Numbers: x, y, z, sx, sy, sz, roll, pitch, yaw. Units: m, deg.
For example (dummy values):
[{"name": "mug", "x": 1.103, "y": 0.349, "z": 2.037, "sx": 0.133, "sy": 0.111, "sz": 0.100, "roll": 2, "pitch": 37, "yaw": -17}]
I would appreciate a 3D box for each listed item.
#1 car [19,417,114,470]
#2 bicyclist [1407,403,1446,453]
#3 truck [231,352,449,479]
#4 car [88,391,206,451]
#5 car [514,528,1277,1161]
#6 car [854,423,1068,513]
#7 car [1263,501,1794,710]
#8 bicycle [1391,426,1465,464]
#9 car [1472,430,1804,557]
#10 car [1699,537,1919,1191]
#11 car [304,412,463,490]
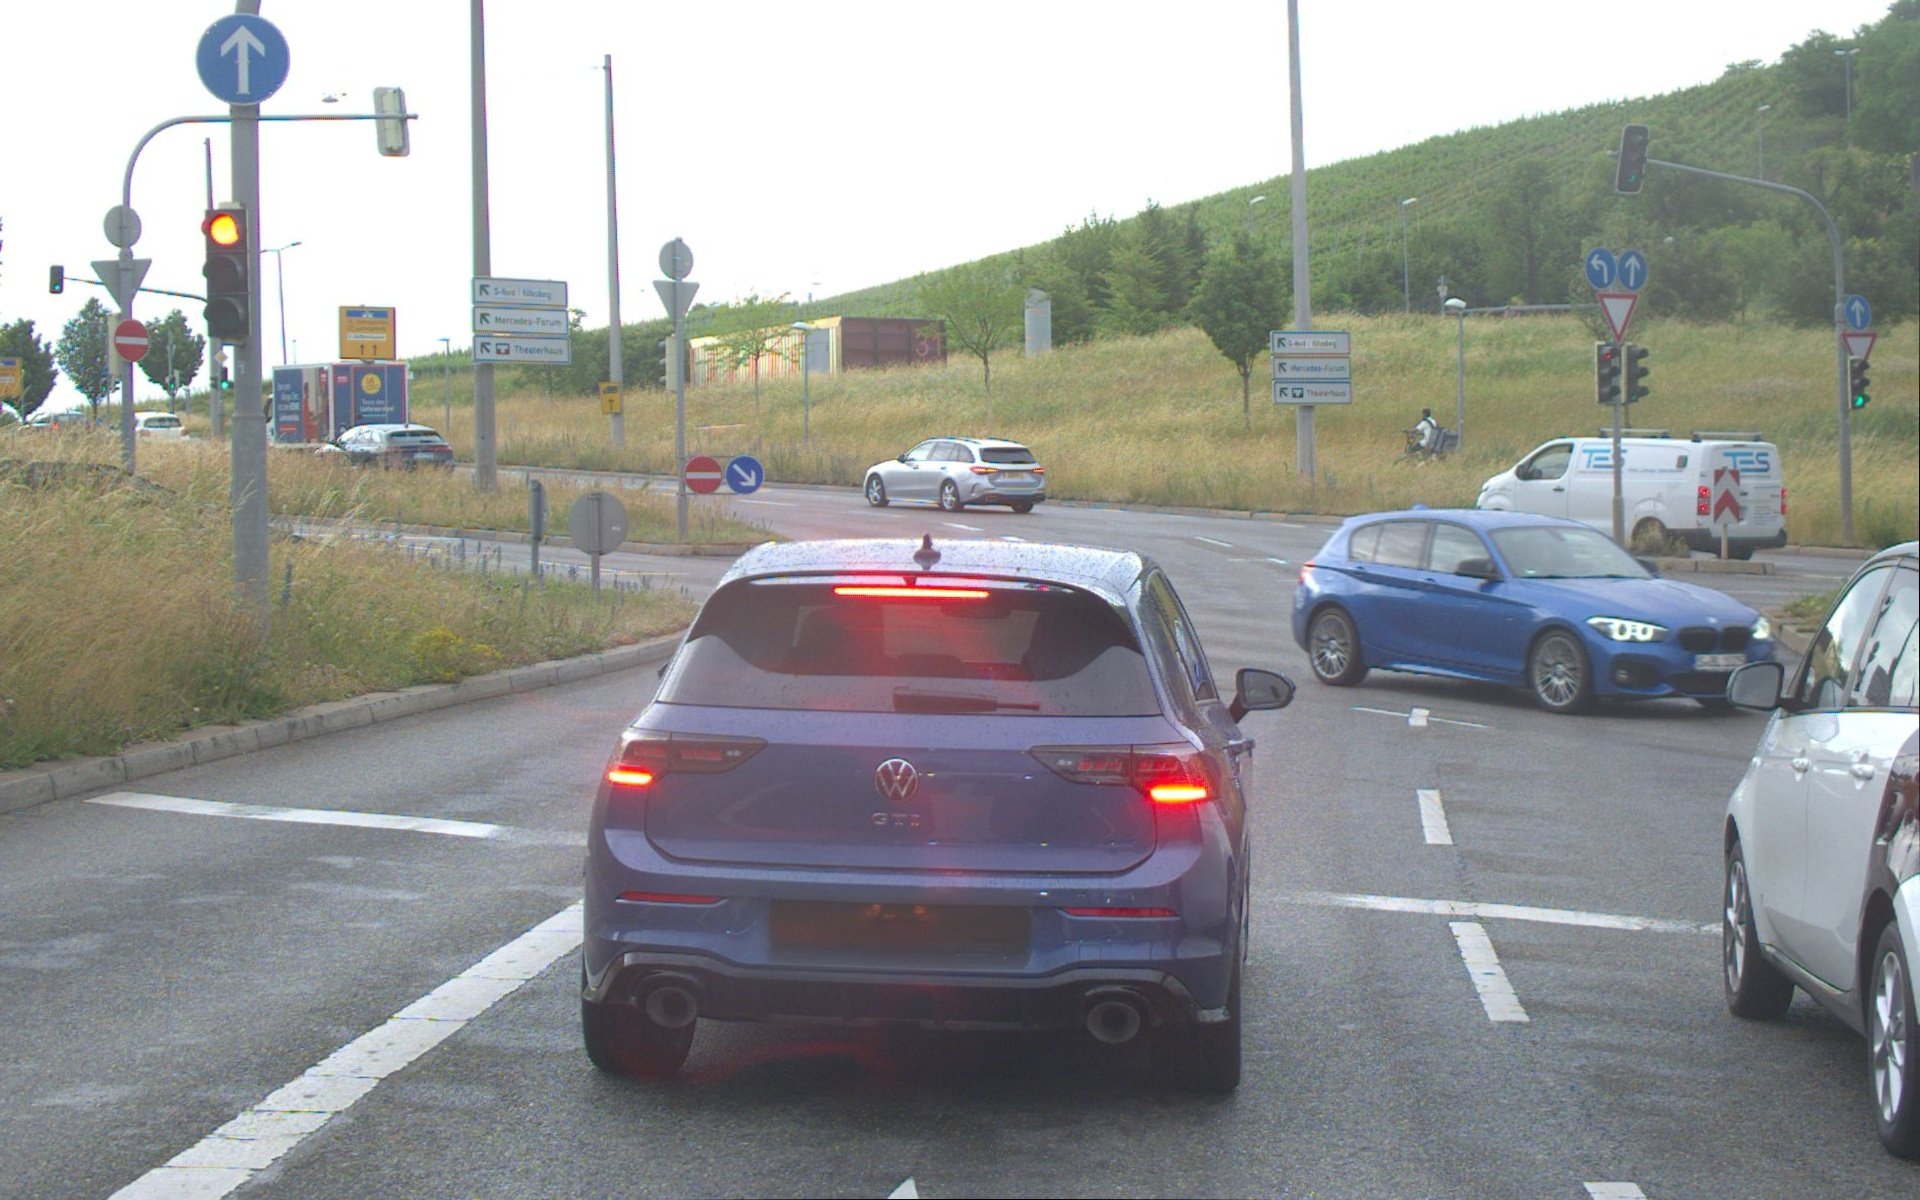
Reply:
[{"name": "car", "x": -30.751, "y": -5.349, "z": 118.249, "sx": 1.993, "sy": 1.654, "sz": 4.545, "roll": 0, "pitch": 1, "yaw": -30}, {"name": "bicyclist", "x": 10.276, "y": -3.784, "z": 75.692, "sx": 0.523, "sy": 1.043, "sz": 0.580, "roll": 2, "pitch": 2, "yaw": -41}, {"name": "truck", "x": -16.610, "y": -4.947, "z": 91.798, "sx": 3.258, "sy": 3.064, "sz": 6.176, "roll": 2, "pitch": 2, "yaw": -36}, {"name": "car", "x": -24.913, "y": -5.460, "z": 105.274, "sx": 1.994, "sy": 1.654, "sz": 4.544, "roll": 0, "pitch": 1, "yaw": -34}, {"name": "car", "x": -0.011, "y": 0.542, "z": 10.151, "sx": 1.825, "sy": 1.455, "sz": 3.808, "roll": 1, "pitch": 2, "yaw": 5}, {"name": "car", "x": -0.019, "y": -2.577, "z": 67.834, "sx": 1.994, "sy": 1.654, "sz": 4.544, "roll": 0, "pitch": 1, "yaw": -34}, {"name": "car", "x": 4.275, "y": 0.011, "z": 26.518, "sx": 1.695, "sy": 1.470, "sz": 4.293, "roll": 0, "pitch": 1, "yaw": -30}, {"name": "bicycle", "x": 10.297, "y": -3.409, "z": 75.674, "sx": 0.518, "sy": 0.772, "sz": 1.620, "roll": 2, "pitch": 2, "yaw": -41}, {"name": "car", "x": 10.134, "y": -1.562, "z": 51.683, "sx": 2.129, "sy": 1.788, "sz": 4.740, "roll": 0, "pitch": 1, "yaw": -34}, {"name": "car", "x": 3.125, "y": 0.602, "z": 9.532, "sx": 1.658, "sy": 1.497, "sz": 3.450, "roll": 1, "pitch": 1, "yaw": 5}, {"name": "car", "x": -13.420, "y": -3.436, "z": 79.819, "sx": 1.994, "sy": 1.654, "sz": 4.353, "roll": 0, "pitch": 1, "yaw": -34}]
